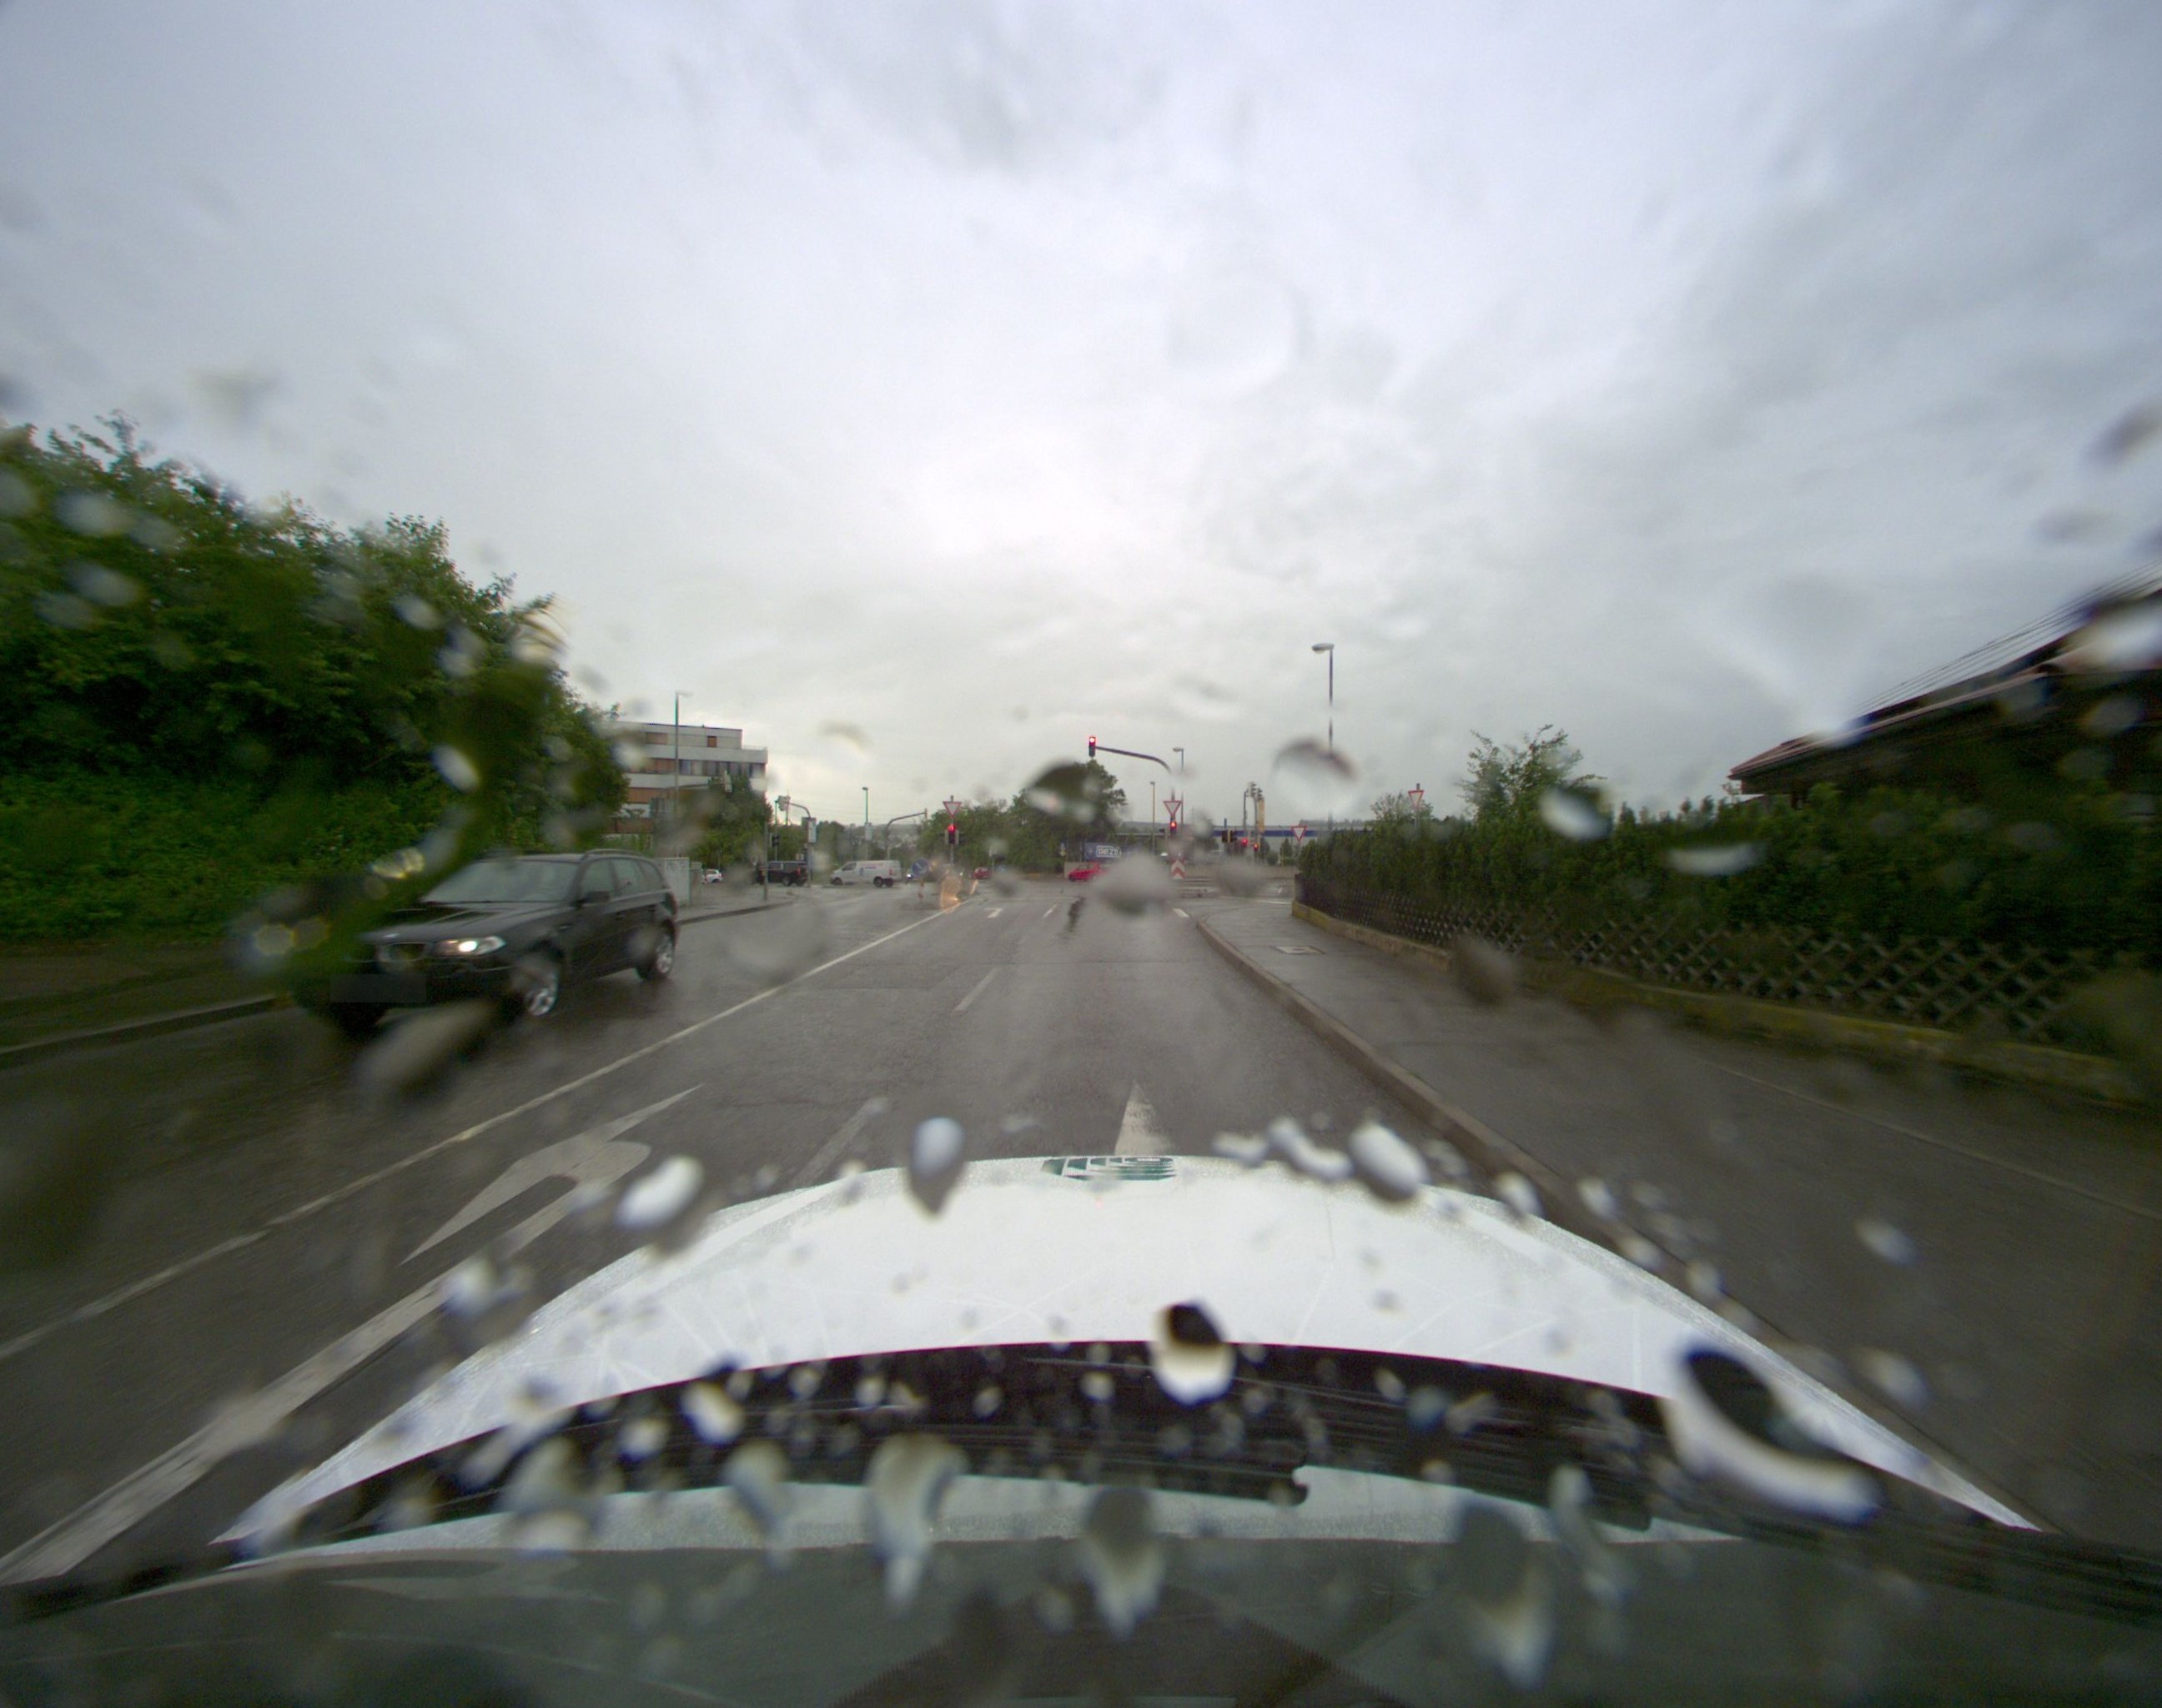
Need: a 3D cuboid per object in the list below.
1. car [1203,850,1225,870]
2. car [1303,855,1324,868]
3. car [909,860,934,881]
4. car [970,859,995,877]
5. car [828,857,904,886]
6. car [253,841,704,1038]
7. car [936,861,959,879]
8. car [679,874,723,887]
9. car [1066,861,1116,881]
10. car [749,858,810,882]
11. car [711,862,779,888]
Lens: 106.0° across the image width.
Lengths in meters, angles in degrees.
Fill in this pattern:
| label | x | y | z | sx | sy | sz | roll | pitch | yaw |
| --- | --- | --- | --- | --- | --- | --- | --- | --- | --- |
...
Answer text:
| label | x | y | z | sx | sy | sz | roll | pitch | yaw |
| --- | --- | --- | --- | --- | --- | --- | --- | --- | --- |
| car | 14.132 | 0.620 | 86.134 | 1.979 | 2.014 | 4.015 | 0 | -1 | 14 |
| car | 27.491 | 0.850 | 96.337 | 1.976 | 1.478 | 4.021 | 0 | 0 | 22 |
| car | -15.255 | 1.603 | 77.680 | 1.997 | 1.895 | 3.978 | 0 | -2 | -16 |
| car | -11.234 | 1.615 | 92.827 | 2.000 | 1.907 | 3.974 | 1 | 0 | -19 |
| car | -15.688 | 1.263 | 59.609 | 4.962 | 2.014 | 2.007 | 0 | -1 | 12 |
| car | -6.151 | 0.733 | 9.169 | 1.990 | 1.667 | 4.410 | 0 | 0 | -4 |
| car | -12.587 | 1.506 | 76.703 | 1.995 | 1.618 | 3.983 | 0 | 0 | -12 |
| car | -33.904 | 2.348 | 72.744 | 3.522 | 1.105 | 1.805 | 0 | -1 | -25 |
| car | 0.767 | 1.319 | 63.830 | 3.759 | 1.448 | 1.630 | 1 | 1 | 43 |
| car | -23.461 | 1.228 | 63.449 | 3.959 | 1.816 | 2.007 | 0 | 0 | 13 |
| car | -24.182 | 1.488 | 58.645 | 4.108 | 1.840 | 2.009 | 0 | 0 | 18 |
